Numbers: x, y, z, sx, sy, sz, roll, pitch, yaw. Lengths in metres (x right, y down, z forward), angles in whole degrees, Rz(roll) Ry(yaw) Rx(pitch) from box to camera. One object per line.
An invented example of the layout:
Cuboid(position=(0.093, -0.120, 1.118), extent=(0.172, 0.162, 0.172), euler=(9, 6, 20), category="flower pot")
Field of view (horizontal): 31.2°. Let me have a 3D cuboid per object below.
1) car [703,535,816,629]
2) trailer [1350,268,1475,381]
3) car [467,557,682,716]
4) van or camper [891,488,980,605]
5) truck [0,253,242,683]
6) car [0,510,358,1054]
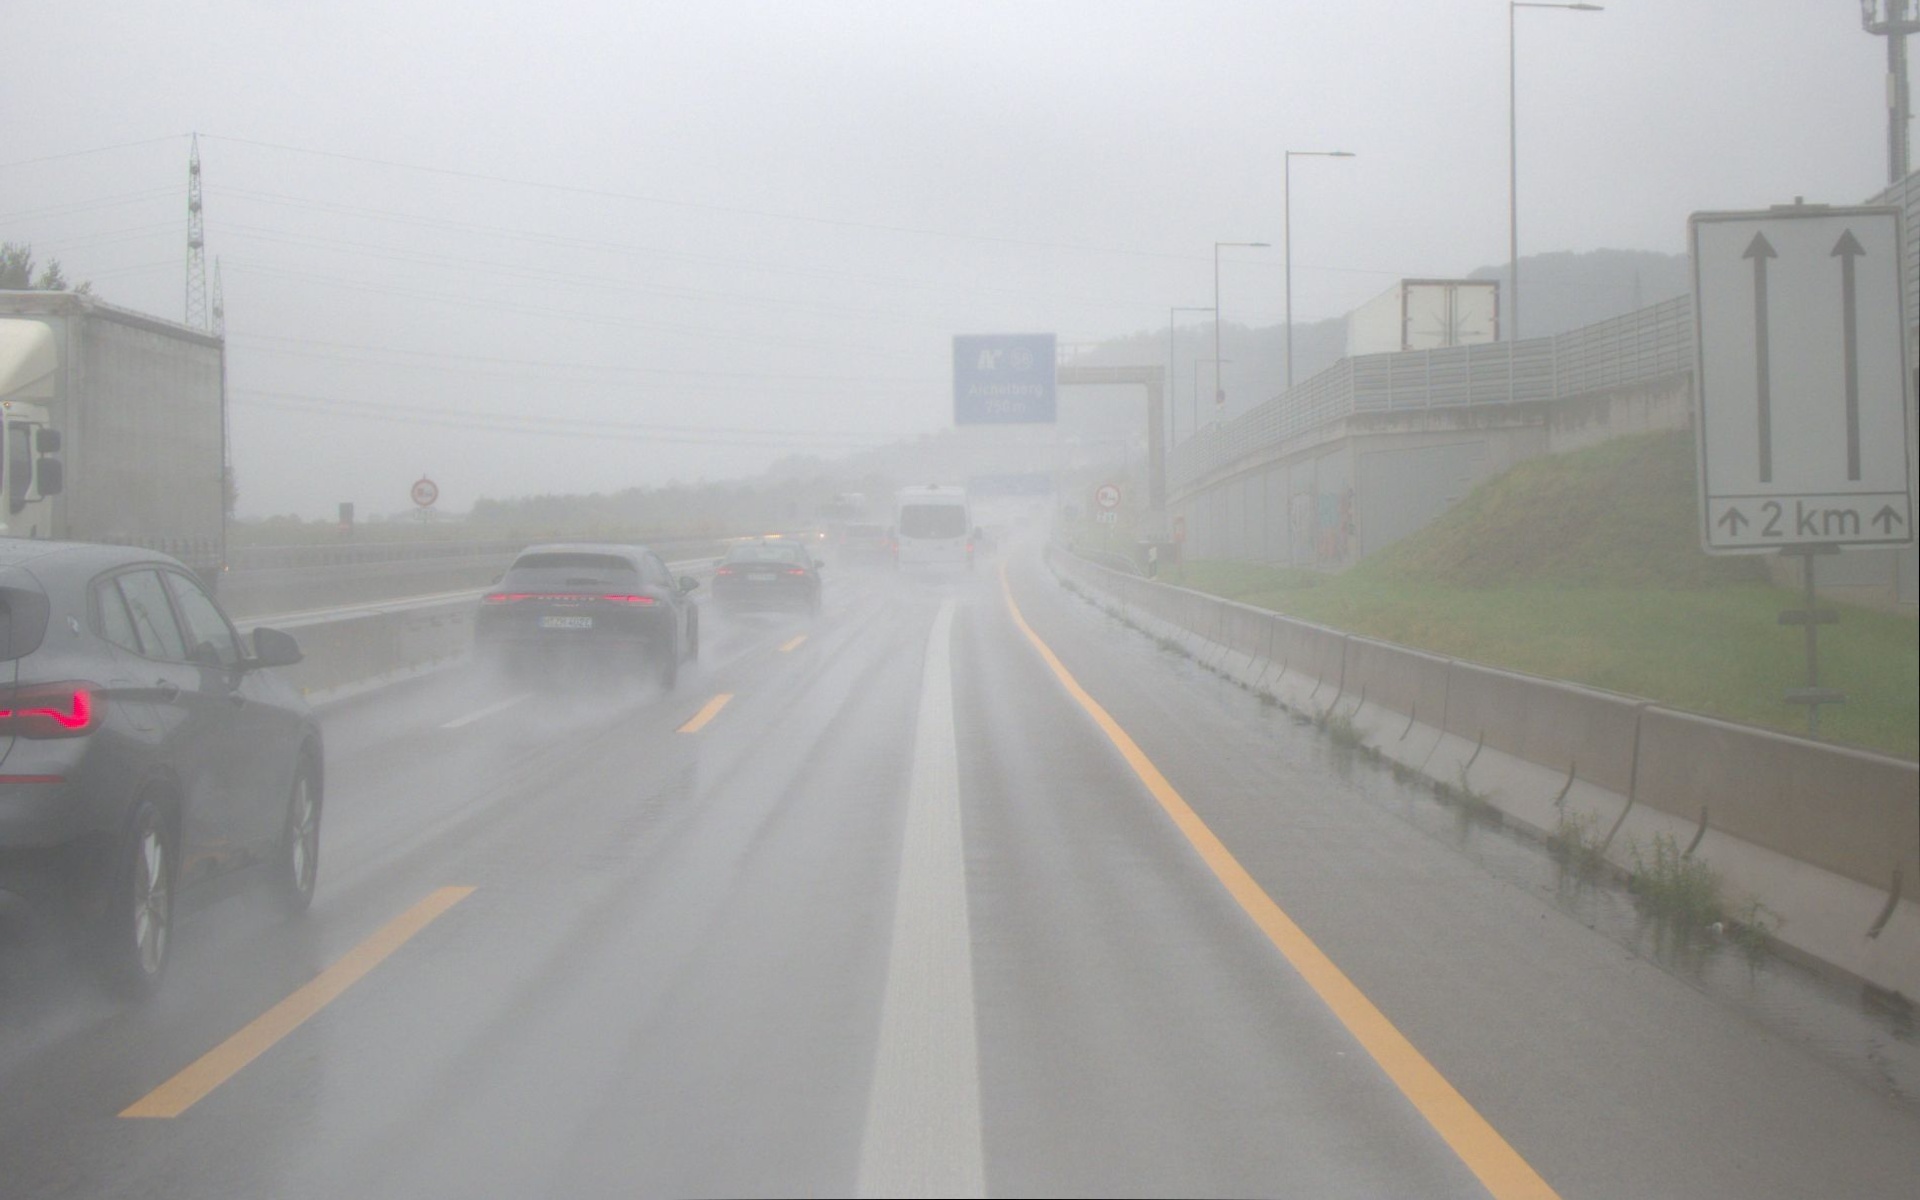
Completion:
Cuboid(position=(-3.473, -0.342, 60.153), extent=(1.844, 1.486, 4.262), euler=(-2, 1, -2), category="car")
Cuboid(position=(12.808, -7.755, 98.188), extent=(1.993, 2.099, 13.768), euler=(1, 0, 1), category="trailer")
Cuboid(position=(-3.823, 0.344, 34.694), extent=(1.844, 1.486, 4.262), euler=(1, 0, -2), category="car")
Cuboid(position=(-0.629, -1.289, 84.053), extent=(1.996, 2.768, 4.050), euler=(1, 0, -2), category="van or camper")
Cuboid(position=(-10.485, -1.268, 38.150), extent=(3.005, 4.152, 9.831), euler=(-1, 0, 0), category="truck")
Cuboid(position=(-3.373, 0.499, 12.476), extent=(1.700, 1.592, 4.846), euler=(-1, 1, -2), category="car")
